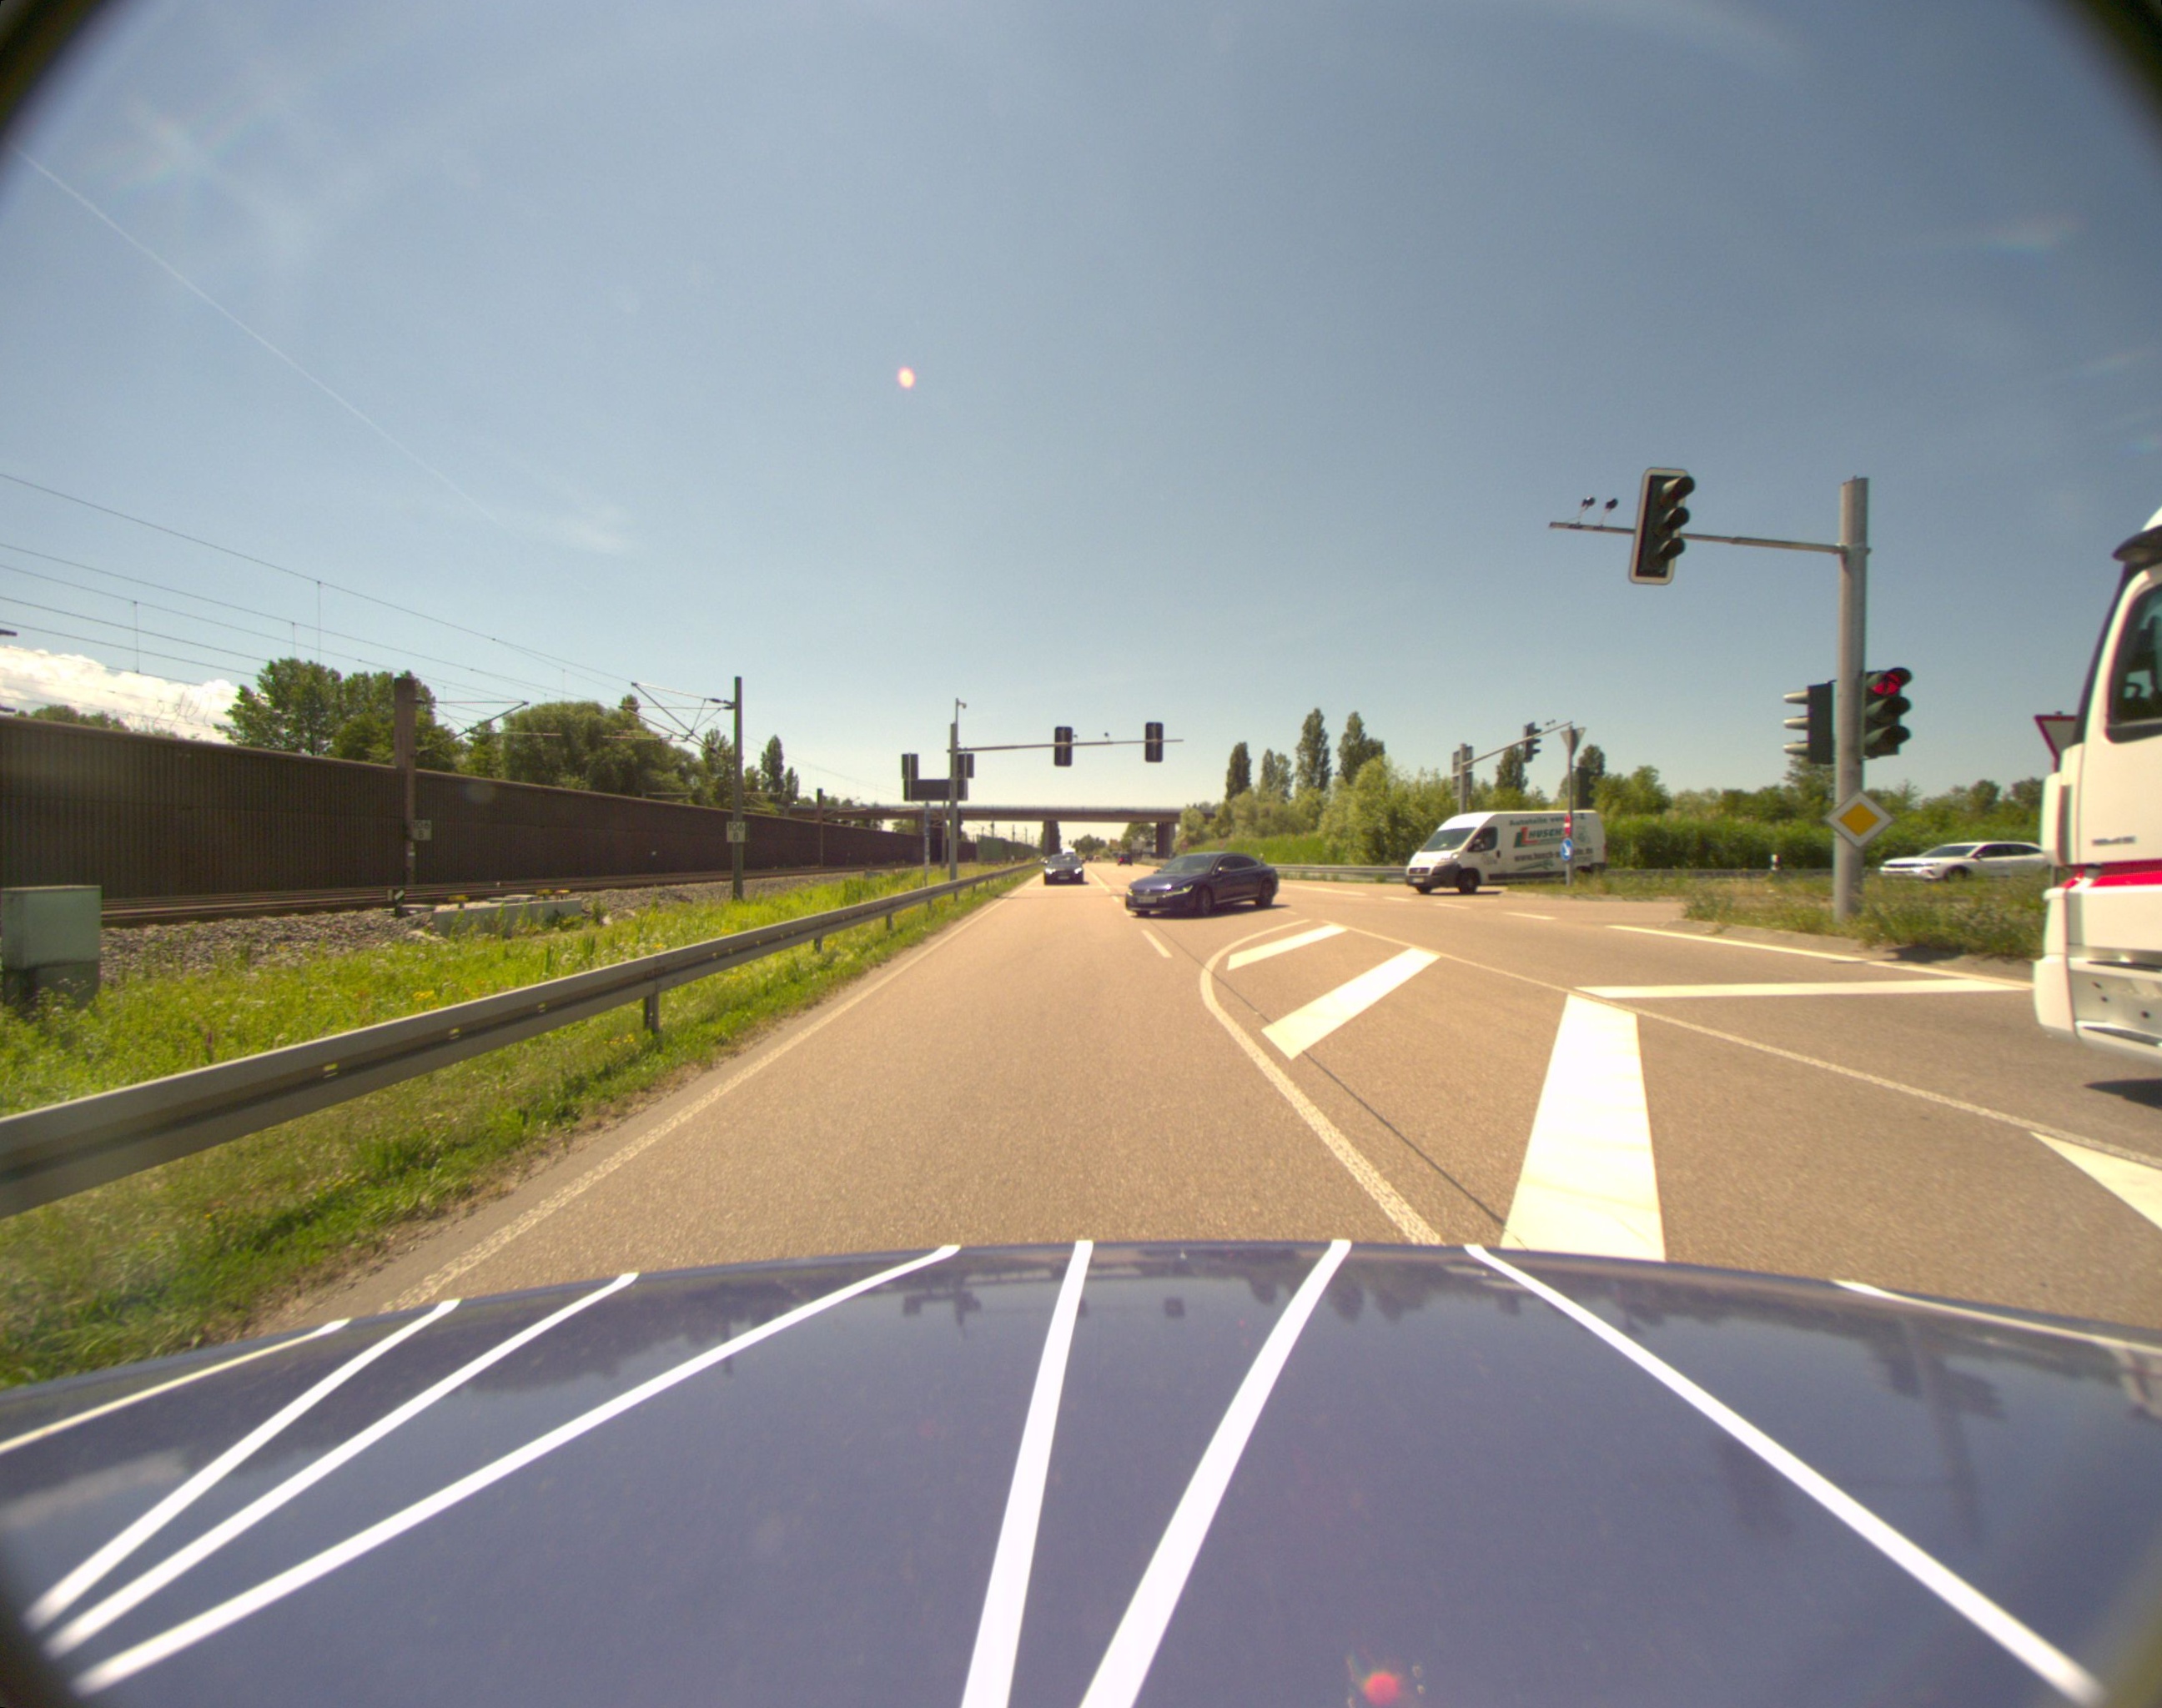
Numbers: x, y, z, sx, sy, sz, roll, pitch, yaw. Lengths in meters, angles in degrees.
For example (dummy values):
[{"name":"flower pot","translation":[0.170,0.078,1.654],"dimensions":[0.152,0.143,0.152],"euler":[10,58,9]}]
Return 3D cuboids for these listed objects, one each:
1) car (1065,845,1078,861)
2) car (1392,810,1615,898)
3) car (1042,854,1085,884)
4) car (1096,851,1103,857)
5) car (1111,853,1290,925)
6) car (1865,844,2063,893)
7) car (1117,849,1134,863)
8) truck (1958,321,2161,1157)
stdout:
[{"name":"car","translation":[-1.440,-0.211,117.737],"dimensions":[1.911,2.427,4.648],"euler":[-1,0,0]},{"name":"car","translation":[12.834,-0.012,23.190],"dimensions":[5.985,2.480,2.227],"euler":[0,0,-13]},{"name":"car","translation":[-0.788,0.681,36.977],"dimensions":[1.911,1.356,4.648],"euler":[-1,0,0]},{"name":"car","translation":[4.699,0.049,194.851],"dimensions":[1.589,1.553,3.687],"euler":[-1,0,0]},{"name":"car","translation":[2.967,0.730,18.159],"dimensions":[4.571,1.415,1.843],"euler":[-2,1,-44]},{"name":"car","translation":[27.025,0.423,23.368],"dimensions":[3.956,1.427,1.722],"euler":[0,1,2]},{"name":"car","translation":[5.474,0.240,93.637],"dimensions":[1.642,1.587,3.560],"euler":[0,0,-3]},{"name":"truck","translation":[6.535,-0.542,1.601],"dimensions":[2.696,4.022,5.825],"euler":[-1,1,1]}]
